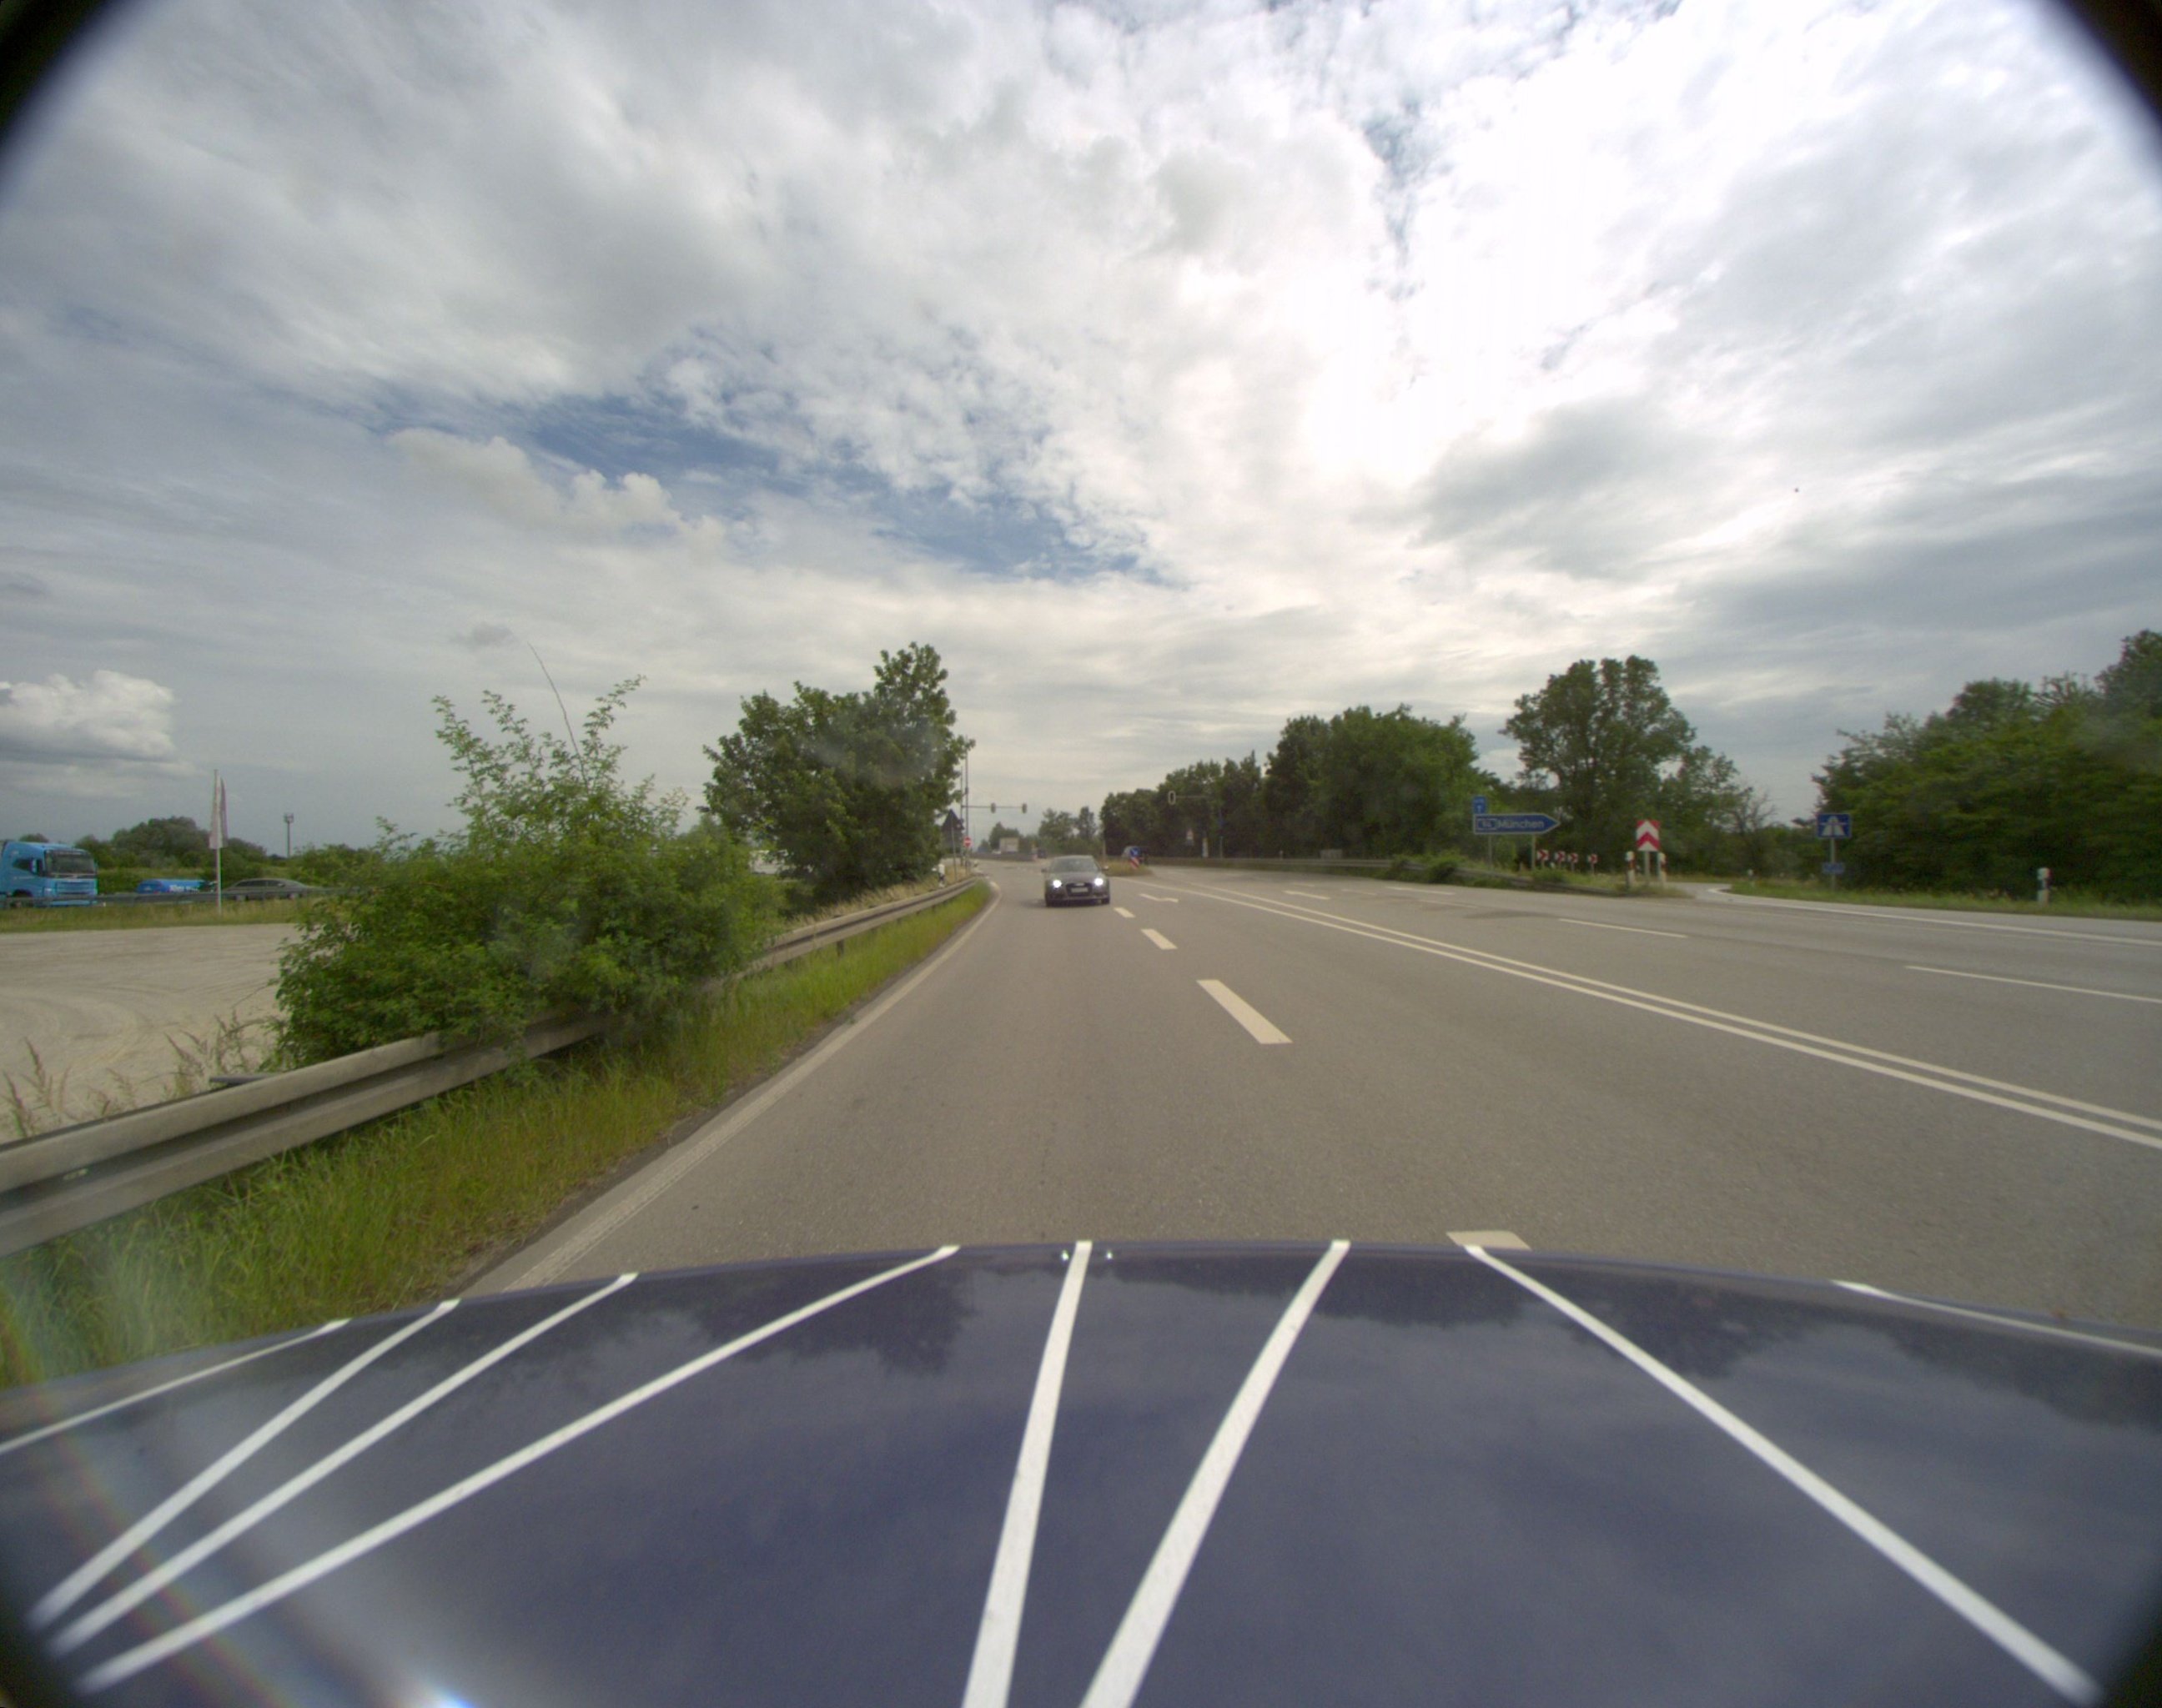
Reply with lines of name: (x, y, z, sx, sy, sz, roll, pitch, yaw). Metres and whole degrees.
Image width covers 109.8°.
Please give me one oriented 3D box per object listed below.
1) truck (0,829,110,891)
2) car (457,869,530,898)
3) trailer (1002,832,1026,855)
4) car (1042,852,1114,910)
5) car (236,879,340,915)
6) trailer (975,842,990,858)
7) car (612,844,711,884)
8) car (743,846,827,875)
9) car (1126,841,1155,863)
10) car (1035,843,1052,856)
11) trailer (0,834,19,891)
truck: (-60.614, 0.402, 43.886, 5.593, 3.285, 2.391, -3, 0, -3)
car: (-45.848, 2.281, 59.404, 4.001, 2.002, 1.929, -2, 0, -12)
trailer: (-13.789, -2.119, 155.188, 3.497, 4.488, 10.933, -3, 1, -12)
car: (-0.109, 0.761, 23.405, 1.957, 1.527, 3.999, -2, 1, -1)
car: (-48.608, 2.629, 46.648, 4.001, 2.001, 1.929, -1, 0, -12)
trailer: (-30.138, -1.153, 231.399, 3.142, 4.605, 8.815, -3, 1, -15)
car: (-28.273, 0.658, 51.403, 5.422, 2.552, 2.456, -1, 0, -16)
car: (-23.370, 0.505, 60.213, 5.899, 2.002, 2.059, -2, 0, -12)
car: (5.889, -0.190, 75.848, 2.000, 2.002, 3.996, -3, 1, -9)
car: (-6.250, -0.787, 126.596, 2.001, 2.002, 3.994, -3, 1, -16)
trailer: (-68.447, 0.763, 44.016, 11.220, 3.290, 2.392, -3, 0, 4)
